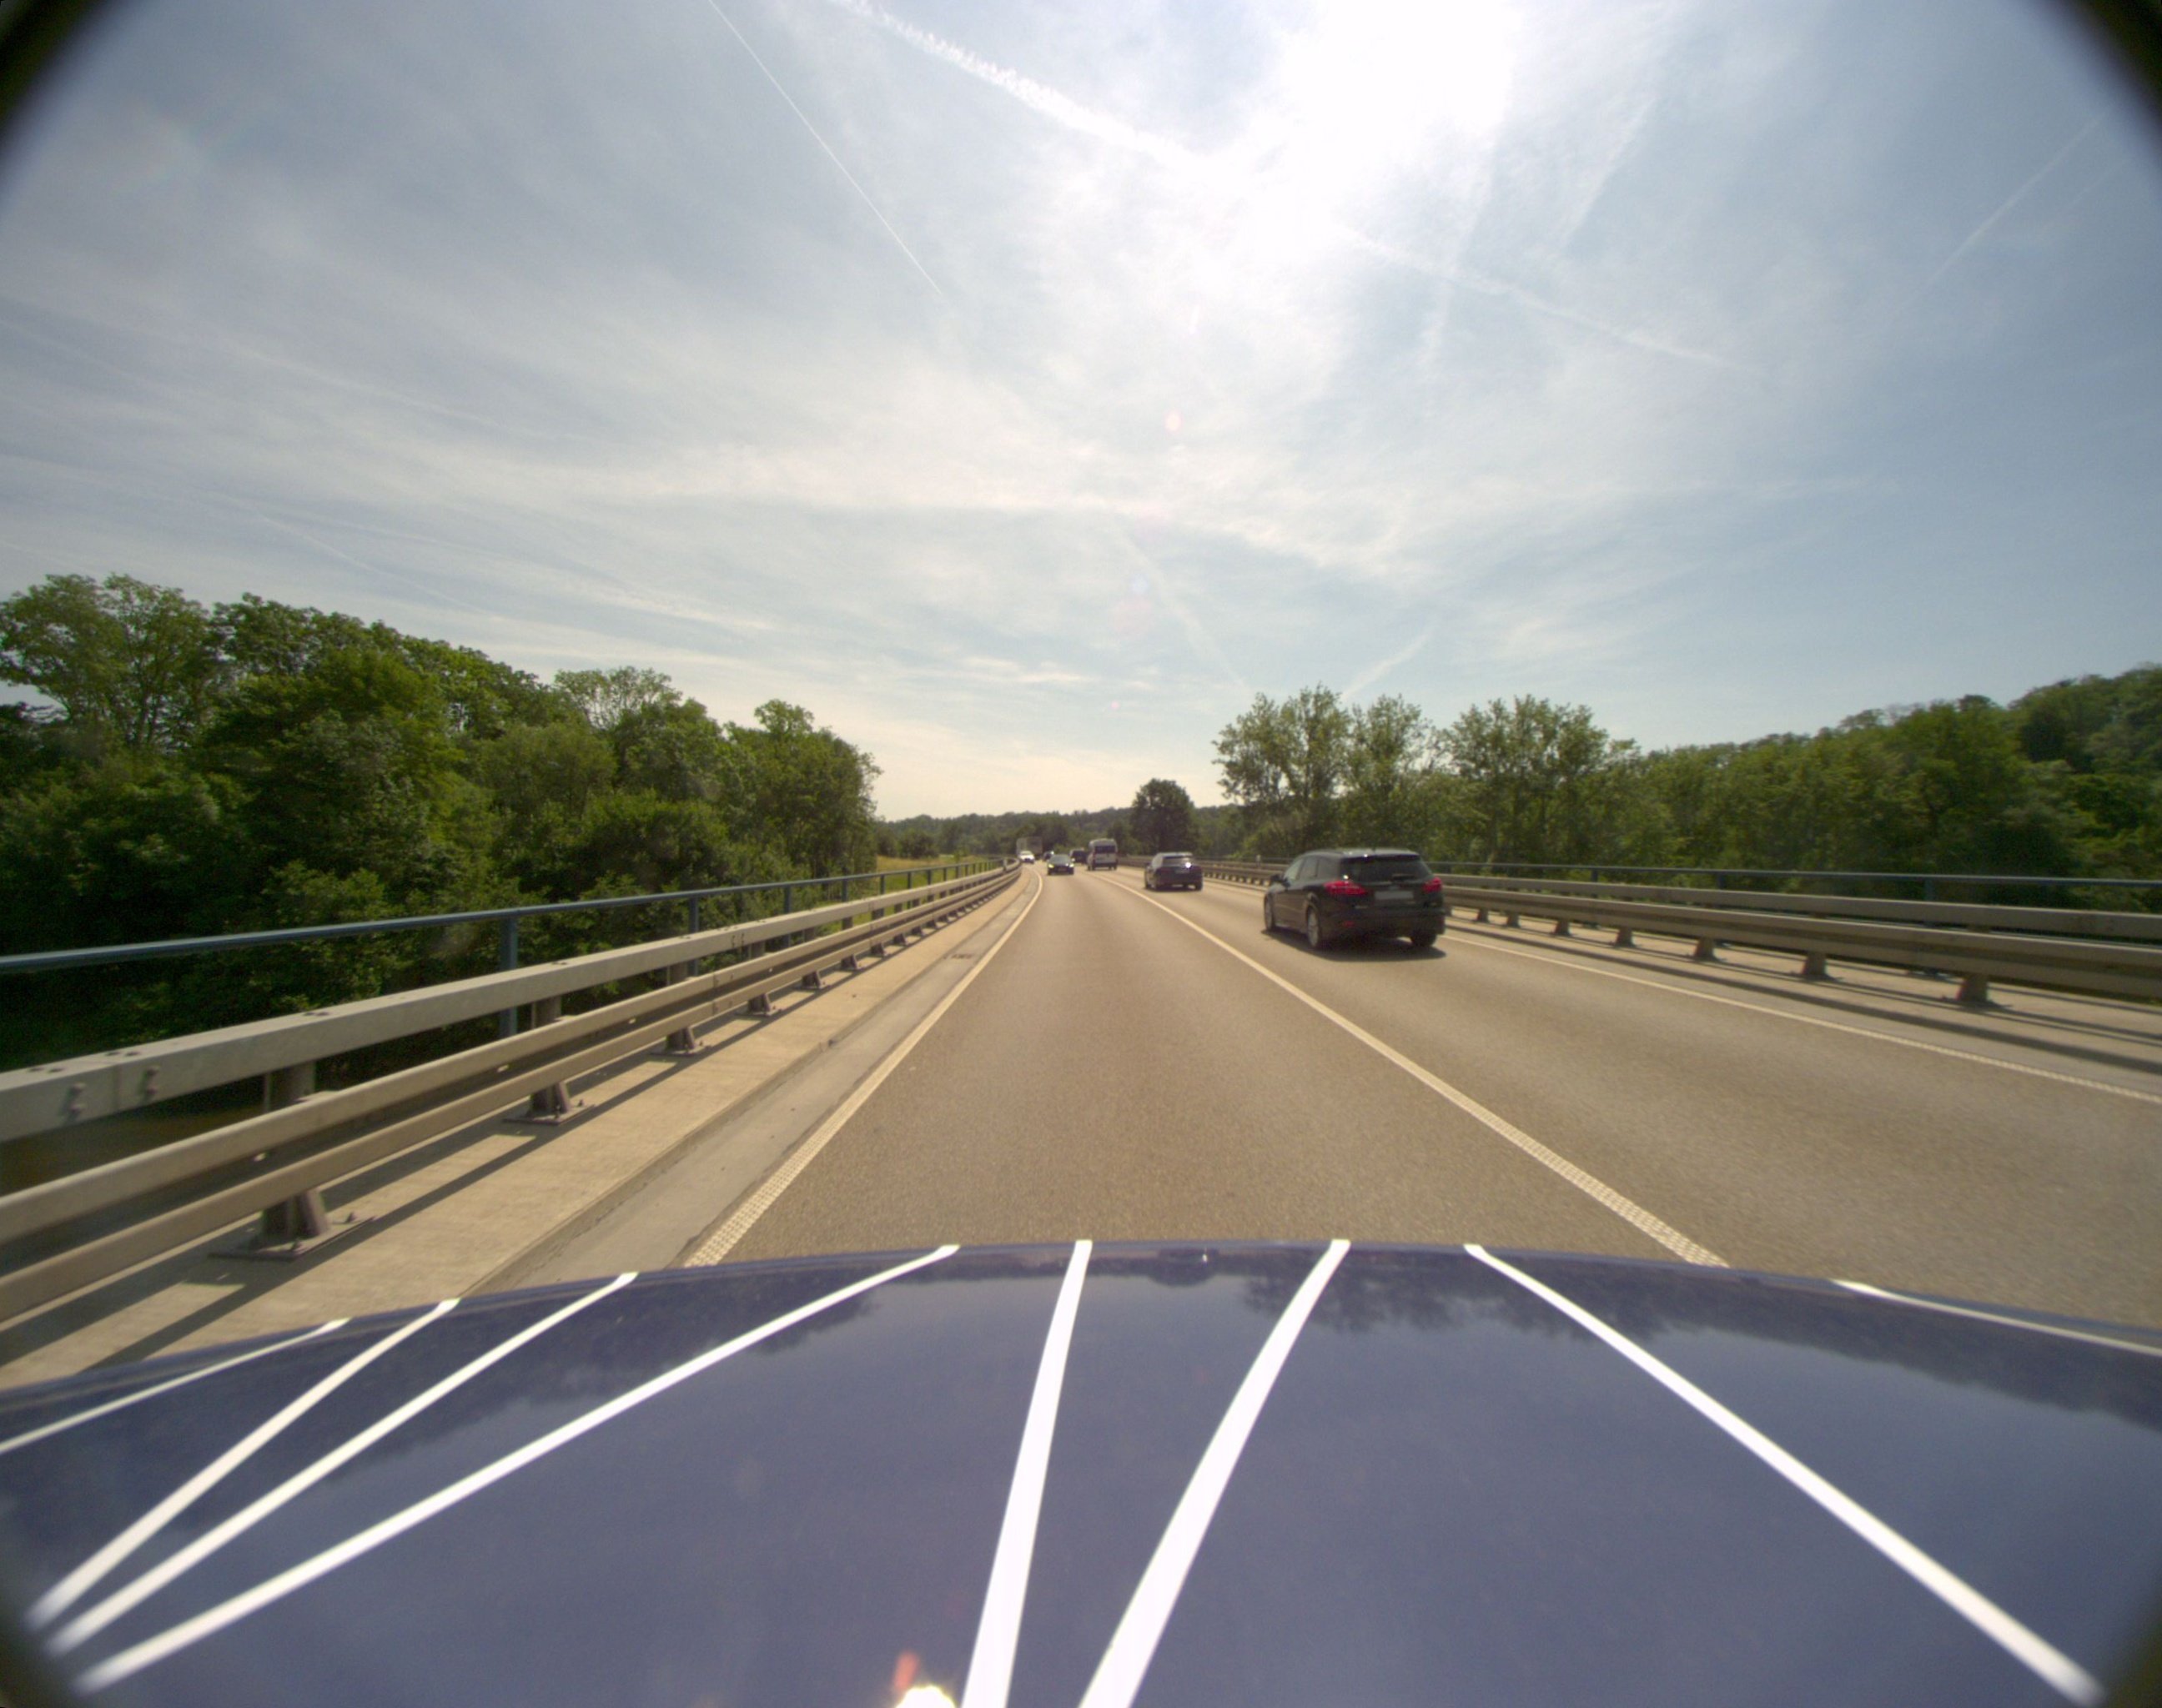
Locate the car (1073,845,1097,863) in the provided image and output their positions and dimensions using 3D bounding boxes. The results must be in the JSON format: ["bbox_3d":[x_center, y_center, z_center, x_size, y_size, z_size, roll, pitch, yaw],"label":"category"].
[{"bbox_3d":[0.369,-0.038,80.729,1.858,1.788,4.973,-2,1,-7],"label":"car"}]

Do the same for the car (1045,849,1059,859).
[{"bbox_3d":[-4.304,-0.016,112.761,1.667,1.449,3.891,-1,0,-9],"label":"car"}]

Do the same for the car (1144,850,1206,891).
[{"bbox_3d":[3.627,0.591,29.954,1.725,1.427,4.616,-2,0,-1],"label":"car"}]

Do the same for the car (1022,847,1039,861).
[{"bbox_3d":[-6.593,-0.025,99.447,1.981,1.779,3.997,-2,1,-6],"label":"car"}]

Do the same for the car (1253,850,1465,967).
[{"bbox_3d":[4.188,0.712,12.323,1.725,1.474,4.569,-2,0,0],"label":"car"}]

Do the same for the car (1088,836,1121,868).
[{"bbox_3d":[1.926,-0.201,64.027,2.185,2.545,5.794,-2,1,-3],"label":"car"}]

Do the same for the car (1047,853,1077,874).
[{"bbox_3d":[-1.294,0.671,53.413,1.980,1.333,3.999,-2,1,-1],"label":"car"}]

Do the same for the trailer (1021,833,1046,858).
[{"bbox_3d":[-8.476,-1.444,134.622,2.862,4.163,14.485,-2,0,-9],"label":"trailer"}]
